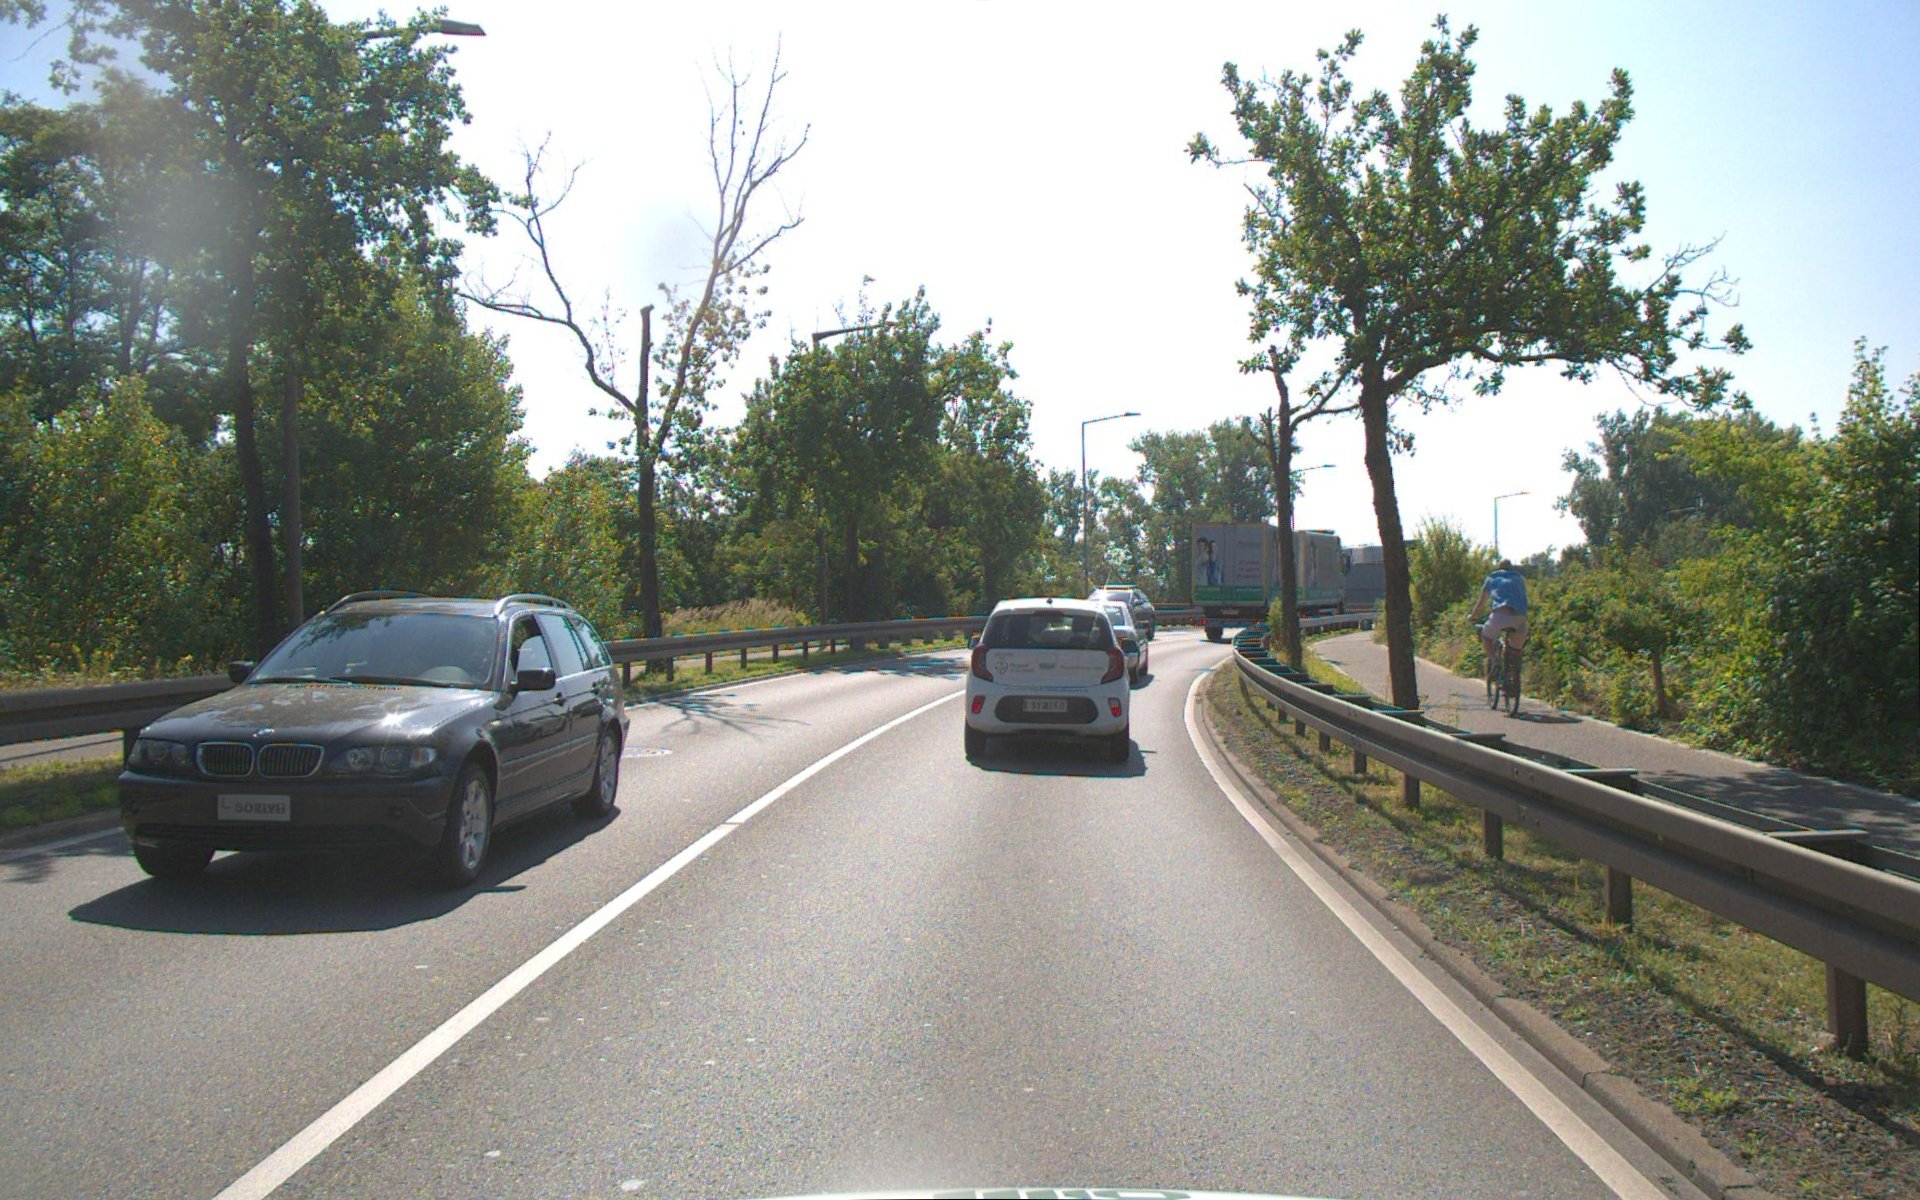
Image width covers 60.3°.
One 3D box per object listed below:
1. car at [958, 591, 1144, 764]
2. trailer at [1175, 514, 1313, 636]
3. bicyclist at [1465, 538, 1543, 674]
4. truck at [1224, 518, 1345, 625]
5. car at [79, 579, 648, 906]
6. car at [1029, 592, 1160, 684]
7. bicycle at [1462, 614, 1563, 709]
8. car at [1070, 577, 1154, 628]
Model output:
[{"bbox_3d":[0.970,0.697,17.139,1.666,1.520,4.002,1,1,4],"label":"car"},{"bbox_3d":[9.813,-0.934,56.451,3.158,3.823,7.826,1,2,21],"label":"trailer"},{"bbox_3d":[6.455,0.079,19.657,0.644,1.546,0.803,-3,-1,6],"label":"bicyclist"},{"bbox_3d":[12.652,-1.162,63.855,3.193,3.823,8.373,1,2,20],"label":"truck"},{"bbox_3d":[-3.175,0.672,9.772,1.666,1.474,4.122,1,0,3],"label":"car"},{"bbox_3d":[2.549,0.622,30.156,1.897,1.512,4.904,1,0,10],"label":"car"},{"bbox_3d":[6.482,0.708,19.507,0.687,1.037,1.847,-4,-1,6],"label":"bicycle"},{"bbox_3d":[4.872,0.059,52.509,1.889,1.560,4.120,1,0,17],"label":"car"}]
